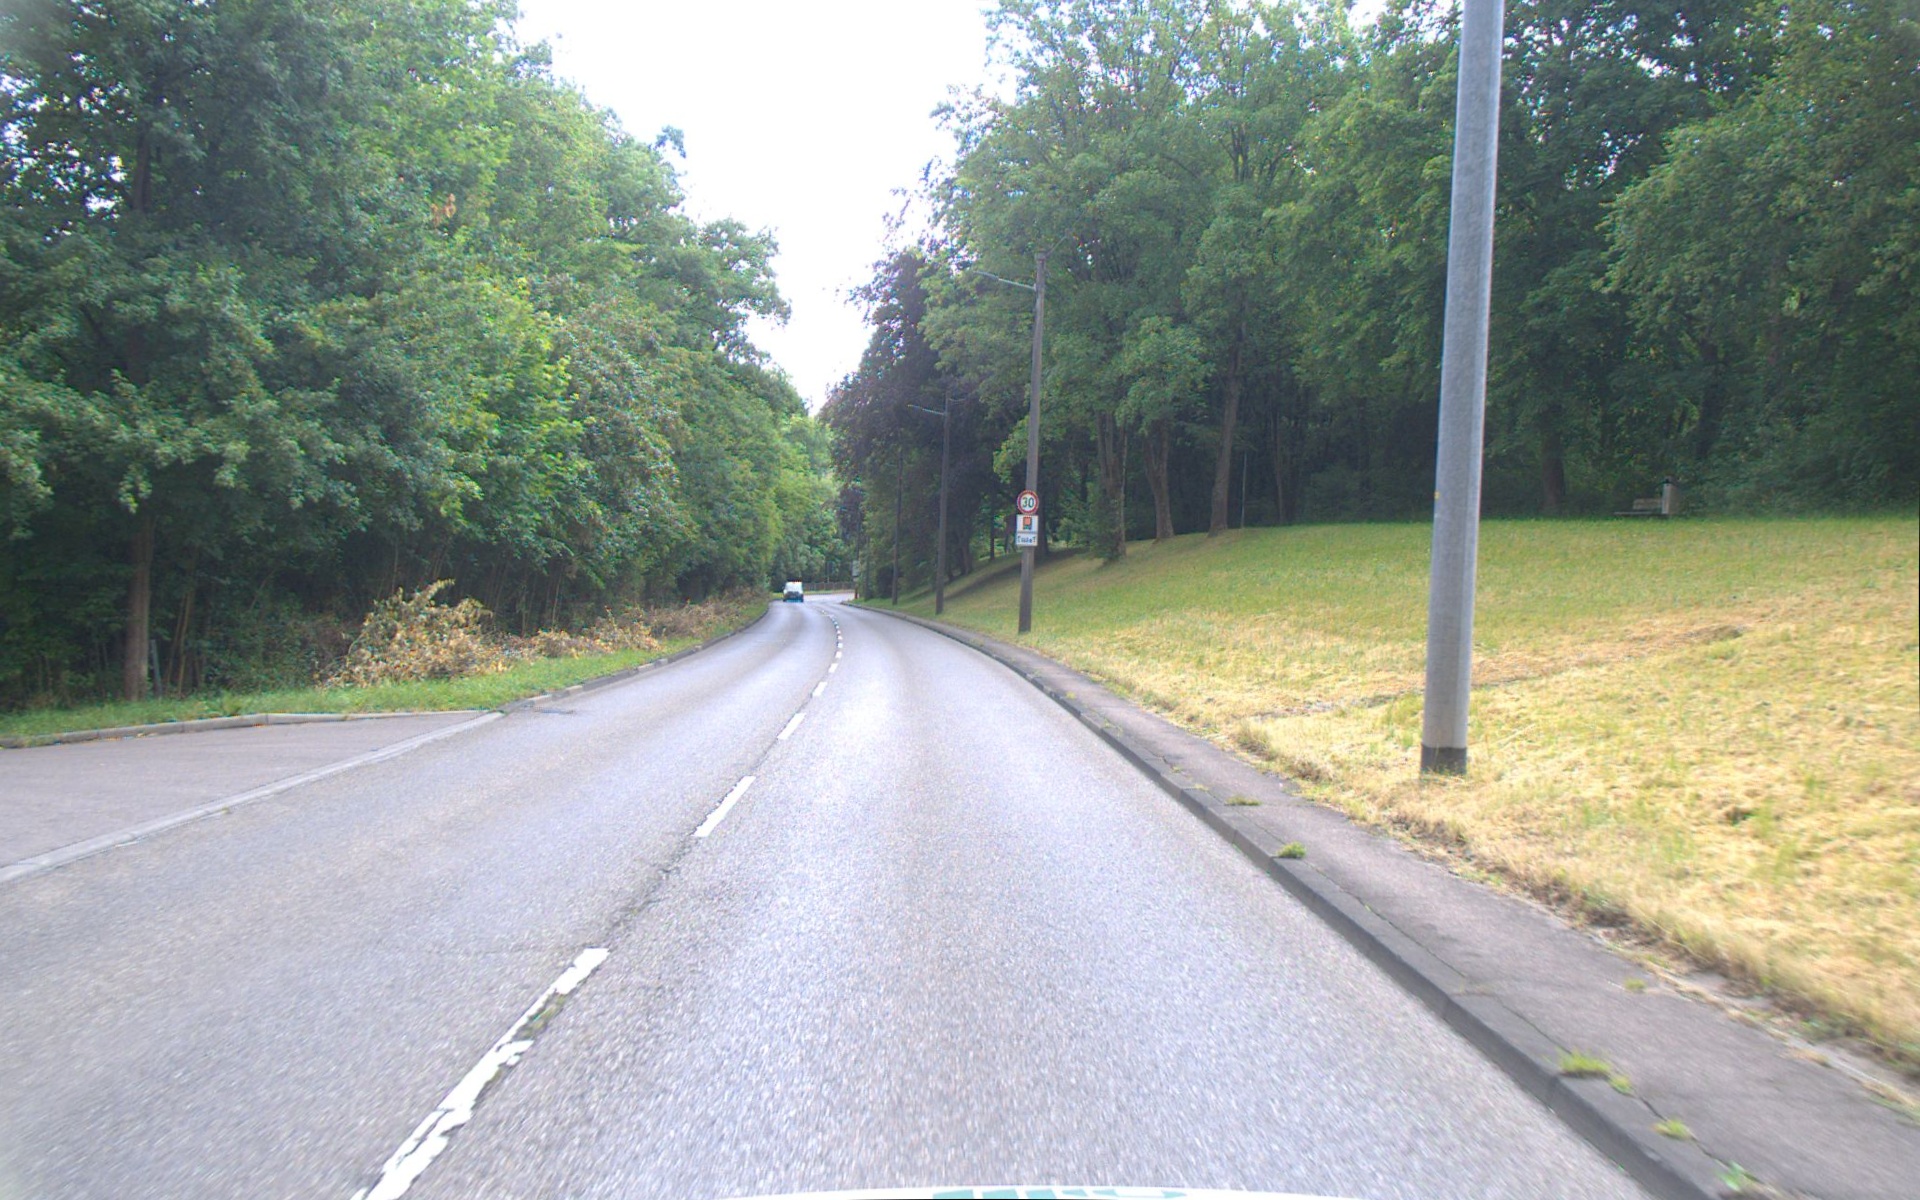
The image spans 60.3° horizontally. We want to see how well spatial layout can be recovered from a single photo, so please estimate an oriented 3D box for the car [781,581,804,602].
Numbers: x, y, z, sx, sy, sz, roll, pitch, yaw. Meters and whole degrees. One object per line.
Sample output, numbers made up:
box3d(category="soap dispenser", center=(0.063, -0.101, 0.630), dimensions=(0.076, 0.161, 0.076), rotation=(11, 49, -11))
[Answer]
box3d(category="car", center=(-15.871, -0.788, 157.130), dimensions=(1.954, 1.982, 4.941), rotation=(1, 0, -4))
